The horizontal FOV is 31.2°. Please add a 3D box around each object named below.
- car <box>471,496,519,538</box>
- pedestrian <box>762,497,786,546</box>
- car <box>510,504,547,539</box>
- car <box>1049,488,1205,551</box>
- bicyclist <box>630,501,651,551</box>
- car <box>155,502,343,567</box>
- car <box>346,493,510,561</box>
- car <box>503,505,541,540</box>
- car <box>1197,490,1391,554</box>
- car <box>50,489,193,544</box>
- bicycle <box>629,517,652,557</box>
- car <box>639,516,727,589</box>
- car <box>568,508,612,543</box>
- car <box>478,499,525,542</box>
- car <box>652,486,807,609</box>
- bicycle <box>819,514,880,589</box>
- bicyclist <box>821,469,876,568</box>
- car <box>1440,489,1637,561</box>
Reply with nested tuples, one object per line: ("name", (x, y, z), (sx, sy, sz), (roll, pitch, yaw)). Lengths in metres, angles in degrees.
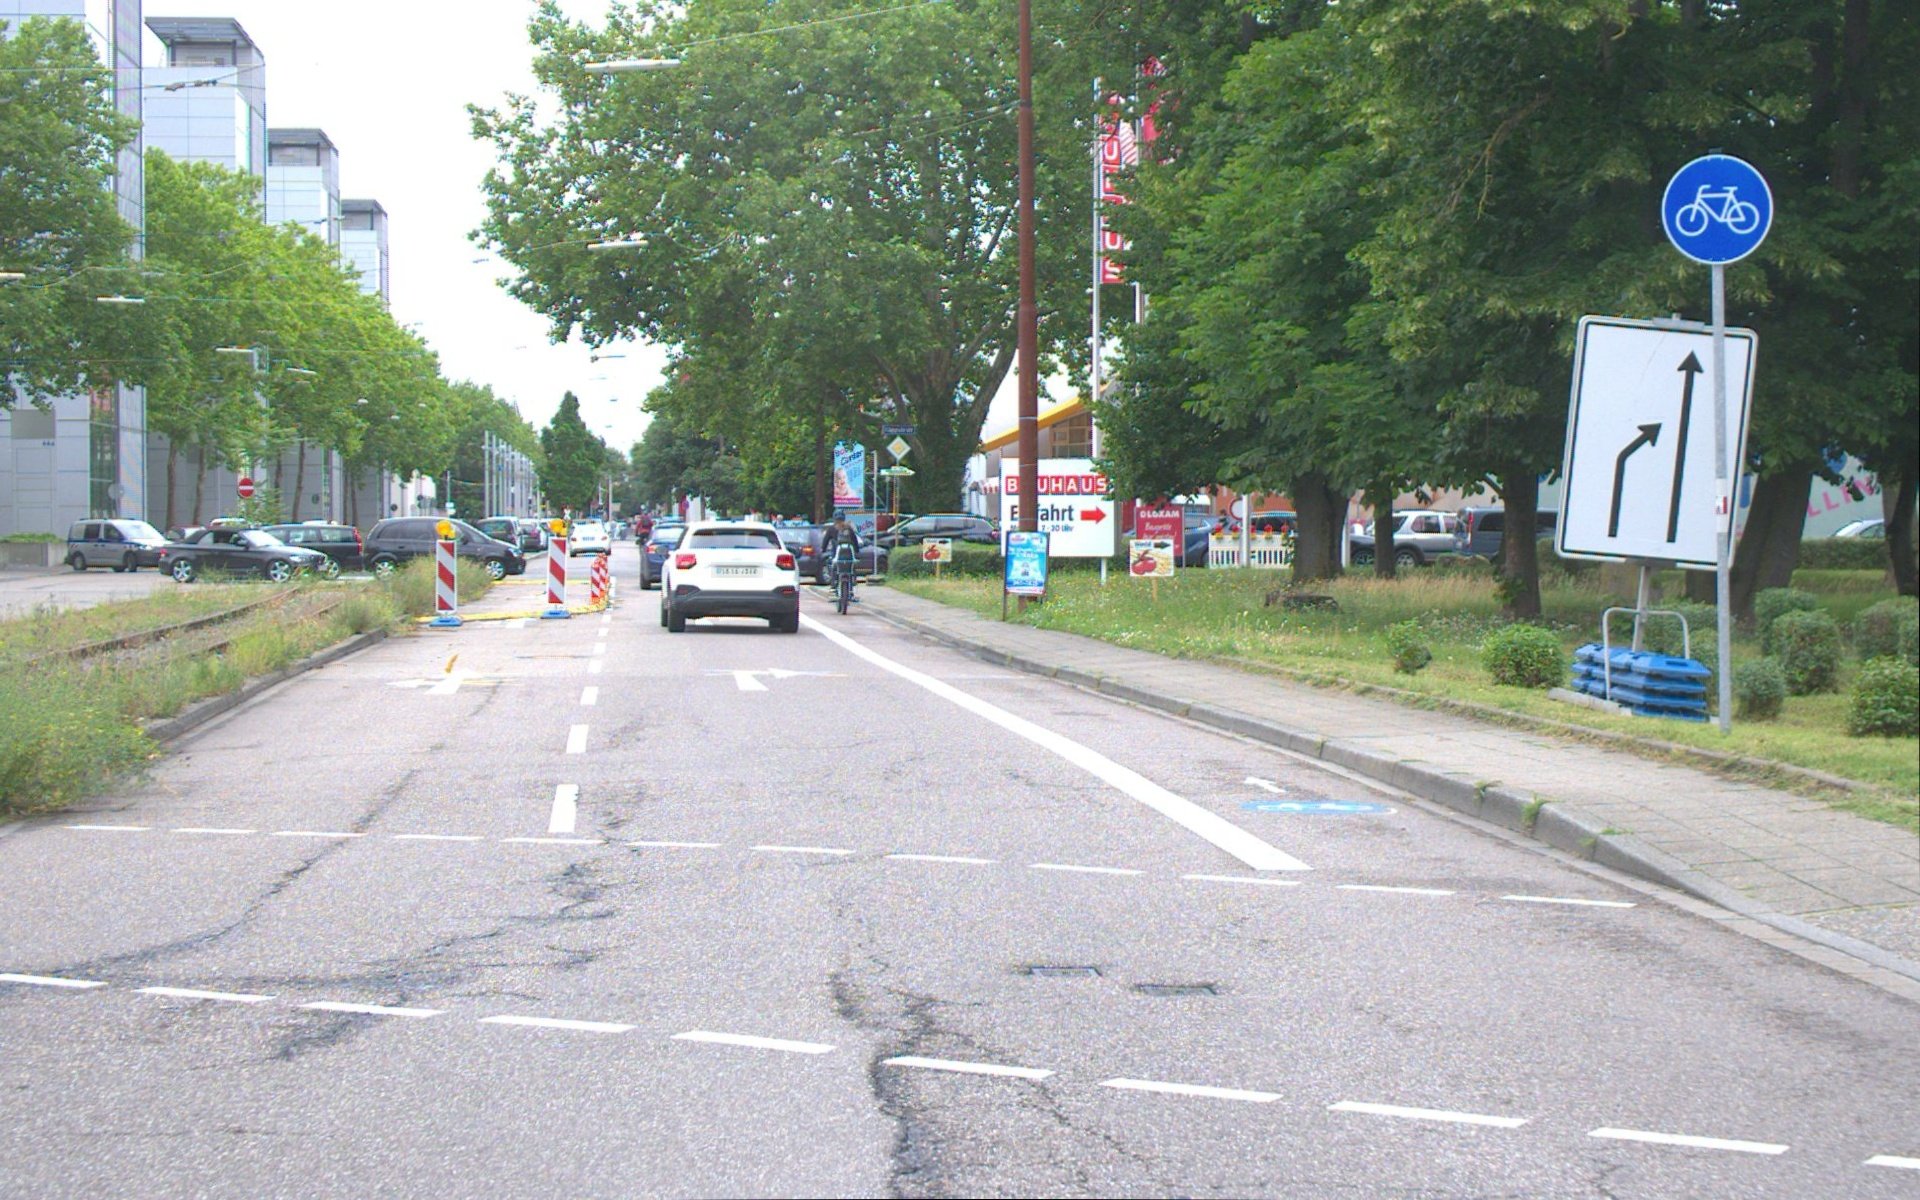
("car", (-18.880, -3.383, 139.690), (1.876, 1.626, 4.001), (-1, 2, -7))
("pedestrian", (-6.450, -2.719, 119.244), (0.760, 1.699, 0.682), (-1, 2, -10))
("car", (-22.468, -4.091, 178.964), (1.876, 1.757, 4.001), (-1, 2, -7))
("car", (4.582, -2.218, 94.599), (4.213, 1.671, 1.992), (0, 1, 2))
("bicyclist", (-11.579, -2.684, 124.678), (0.670, 1.809, 0.760), (1, 2, -8))
("car", (-17.413, -1.592, 84.188), (4.120, 1.470, 1.824), (-1, 0, 17))
("car", (-13.169, -1.805, 85.282), (3.882, 1.550, 1.826), (2, 1, -6))
("car", (-22.136, -3.929, 173.759), (1.876, 1.757, 4.001), (-1, 2, -7))
("car", (8.404, -1.966, 86.709), (4.552, 1.566, 1.993), (-1, 1, -5))
("car", (-27.734, -2.749, 113.698), (4.418, 1.777, 1.823), (0, 2, 25))
("bicycle", (-11.582, -2.289, 124.661), (0.670, 1.389, 2.167), (1, 2, -8))
("car", (-6.205, -1.082, 76.765), (1.683, 1.508, 3.707), (1, 2, -8))
("car", (-16.696, -3.373, 154.870), (1.795, 1.508, 3.707), (1, 2, -8))
("car", (-19.386, -3.382, 145.488), (1.876, 1.757, 4.001), (-1, 2, -7))
("car", (-3.239, -0.754, 47.696), (1.823, 1.594, 3.777), (1, 2, -8))
("bicycle", (-1.838, -0.820, 56.865), (0.816, 1.208, 2.684), (-1, 1, -5))
("bicyclist", (-1.844, -1.351, 56.850), (0.816, 1.624, 1.235), (-1, 1, -5))
("car", (14.757, -1.934, 87.830), (4.552, 1.784, 2.074), (0, 2, -5))
